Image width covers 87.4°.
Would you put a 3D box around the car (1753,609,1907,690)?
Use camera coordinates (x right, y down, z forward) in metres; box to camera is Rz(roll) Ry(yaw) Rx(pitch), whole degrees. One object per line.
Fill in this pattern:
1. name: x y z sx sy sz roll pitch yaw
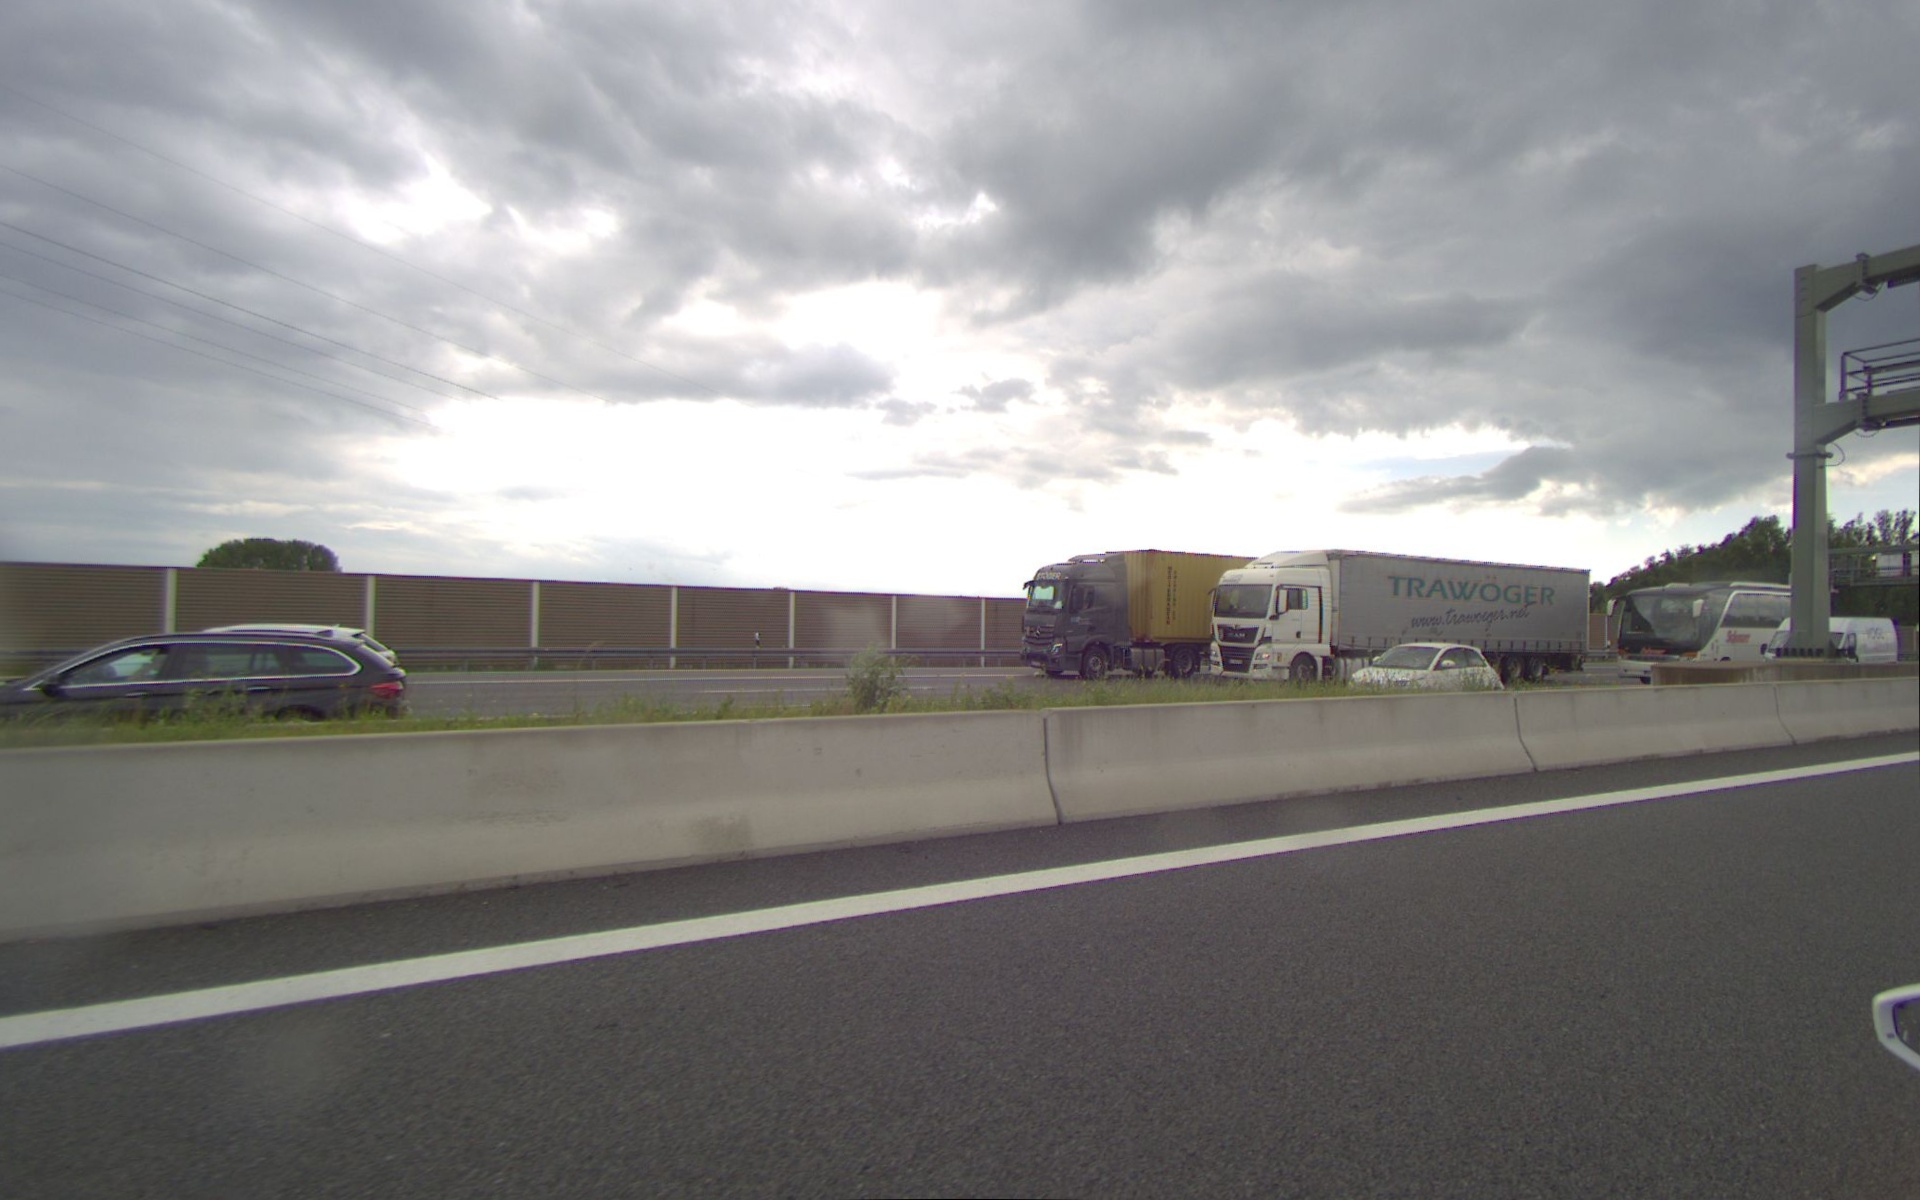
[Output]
1. car: 28.108 1.557 32.398 5.646 2.383 2.125 1 0 -32

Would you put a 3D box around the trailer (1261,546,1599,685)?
1. trailer: 16.254 0.607 33.888 14.133 4.014 2.871 1 0 -31

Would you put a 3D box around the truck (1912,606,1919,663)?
1. truck: 68.666 2.401 69.279 5.978 3.939 2.740 1 -1 -30

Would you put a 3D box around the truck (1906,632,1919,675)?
1. truck: 48.086 2.605 48.414 5.481 2.026 2.232 2 -2 -31

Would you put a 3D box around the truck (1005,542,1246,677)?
1. truck: 5.500 0.404 32.957 7.619 3.985 3.015 2 -2 -30

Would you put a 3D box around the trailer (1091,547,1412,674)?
1. trailer: 10.765 0.532 35.991 12.820 3.984 3.015 2 -2 -30

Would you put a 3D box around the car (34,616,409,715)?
1. car: -11.972 1.025 16.762 4.806 1.400 1.778 1 0 -32

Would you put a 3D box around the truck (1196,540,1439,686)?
1. truck: 11.040 0.439 30.770 7.449 4.014 2.871 1 0 -31

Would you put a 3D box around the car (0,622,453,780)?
1. car: -8.077 0.985 10.816 4.538 1.400 1.778 1 0 -32

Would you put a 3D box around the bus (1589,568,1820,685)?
1. bus: 26.629 1.014 35.696 10.508 3.728 2.642 2 -2 -30

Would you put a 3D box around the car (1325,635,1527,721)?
1. car: 9.776 1.565 20.979 4.328 1.559 1.727 1 0 -32
